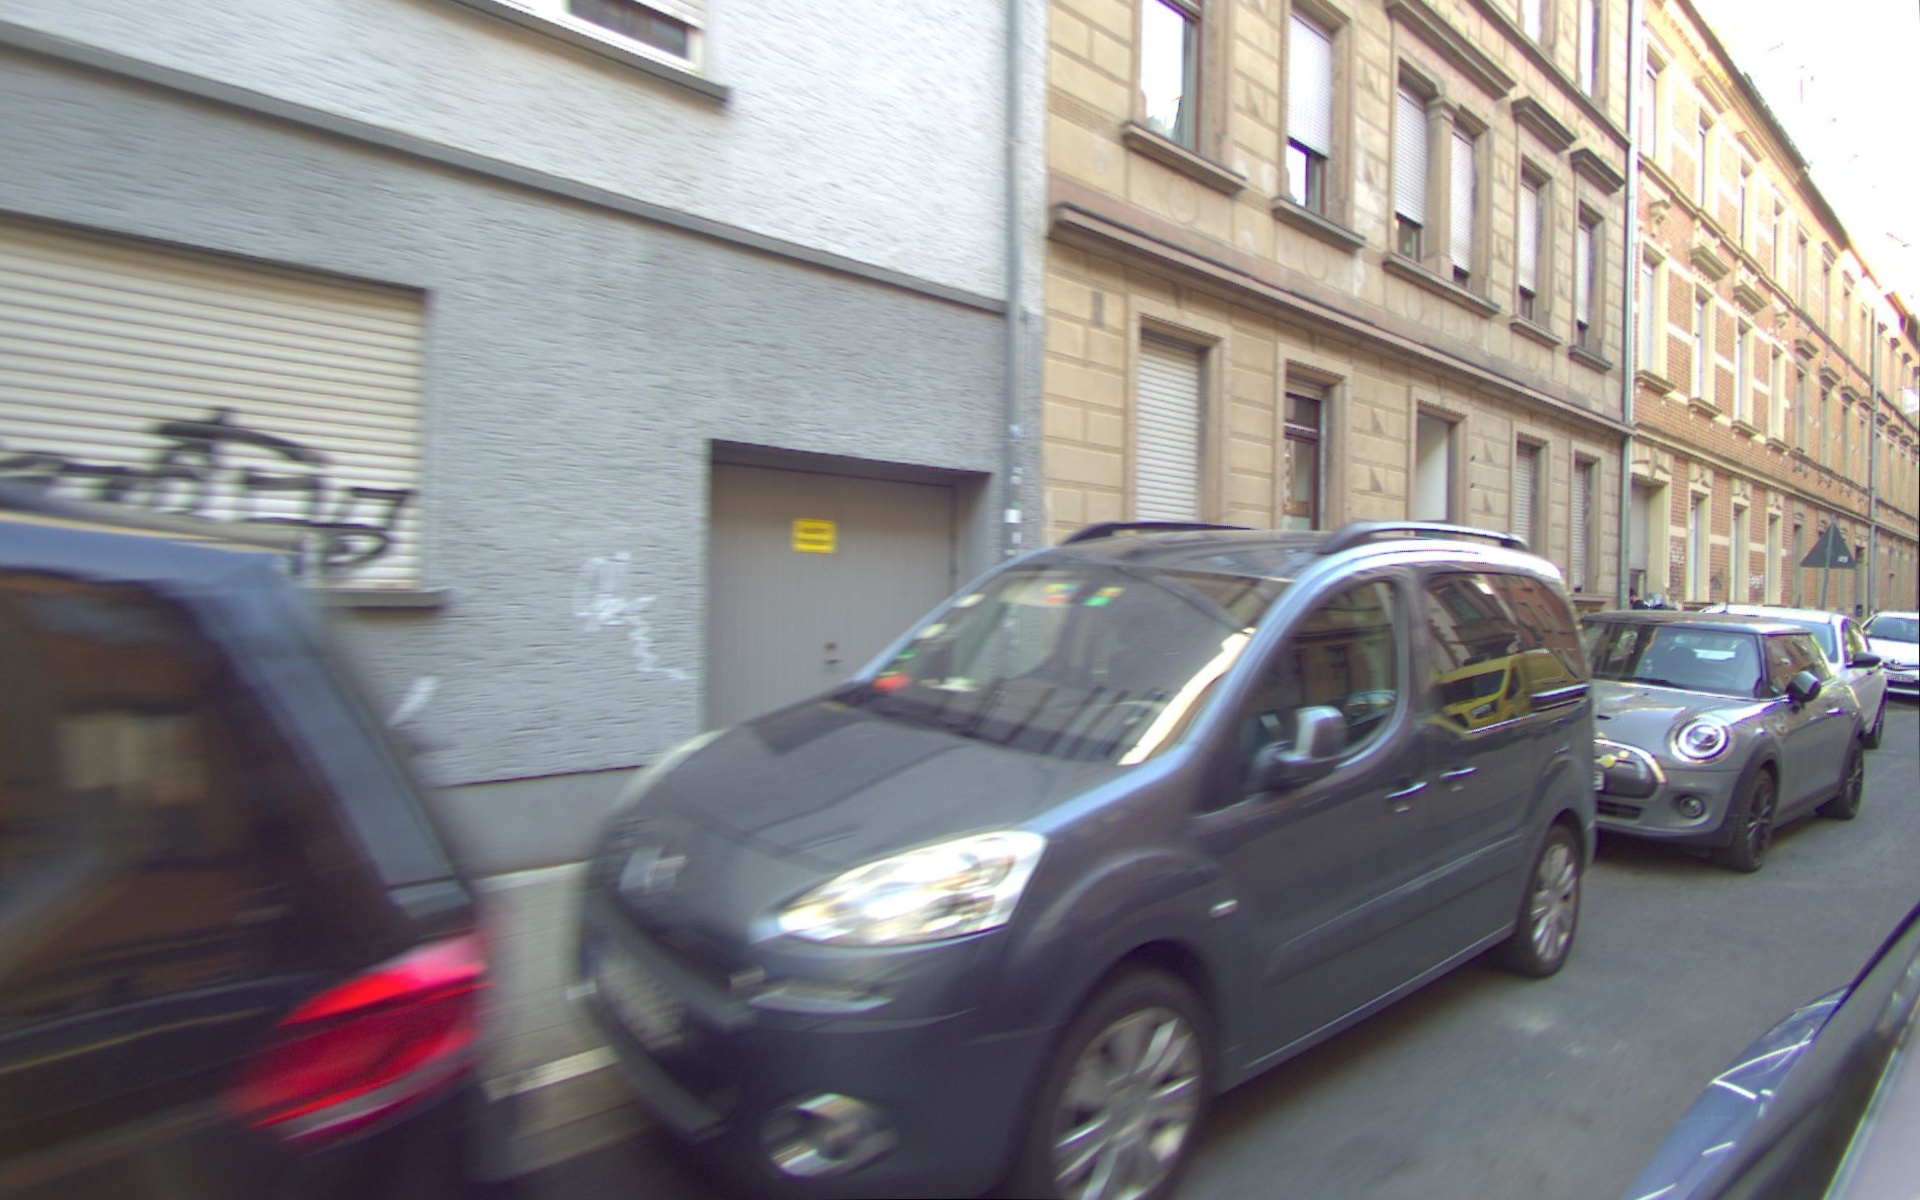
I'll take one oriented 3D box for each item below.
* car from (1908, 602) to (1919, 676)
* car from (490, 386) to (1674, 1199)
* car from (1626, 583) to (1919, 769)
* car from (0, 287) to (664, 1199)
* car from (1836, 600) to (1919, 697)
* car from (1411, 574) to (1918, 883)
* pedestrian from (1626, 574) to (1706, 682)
[{"bbox_3d":[21.030,0.836,20.872,3.999,1.463,1.757,0,4,-42],"label":"car"},{"bbox_3d":[0.959,0.530,3.846,4.641,1.808,1.757,1,3,-41],"label":"car"},{"bbox_3d":[9.130,0.697,11.203,4.366,1.536,1.758,1,5,-41],"label":"car"},{"bbox_3d":[-2.607,0.553,0.542,4.314,1.660,1.904,0,1,-41],"label":"car"},{"bbox_3d":[17.104,0.827,17.955,4.011,1.498,1.725,1,4,-41],"label":"car"},{"bbox_3d":[5.161,0.678,7.199,4.209,1.470,1.759,1,4,-39],"label":"car"},{"bbox_3d":[11.260,0.421,16.174,0.644,1.650,0.879,2,2,8],"label":"pedestrian"}]
